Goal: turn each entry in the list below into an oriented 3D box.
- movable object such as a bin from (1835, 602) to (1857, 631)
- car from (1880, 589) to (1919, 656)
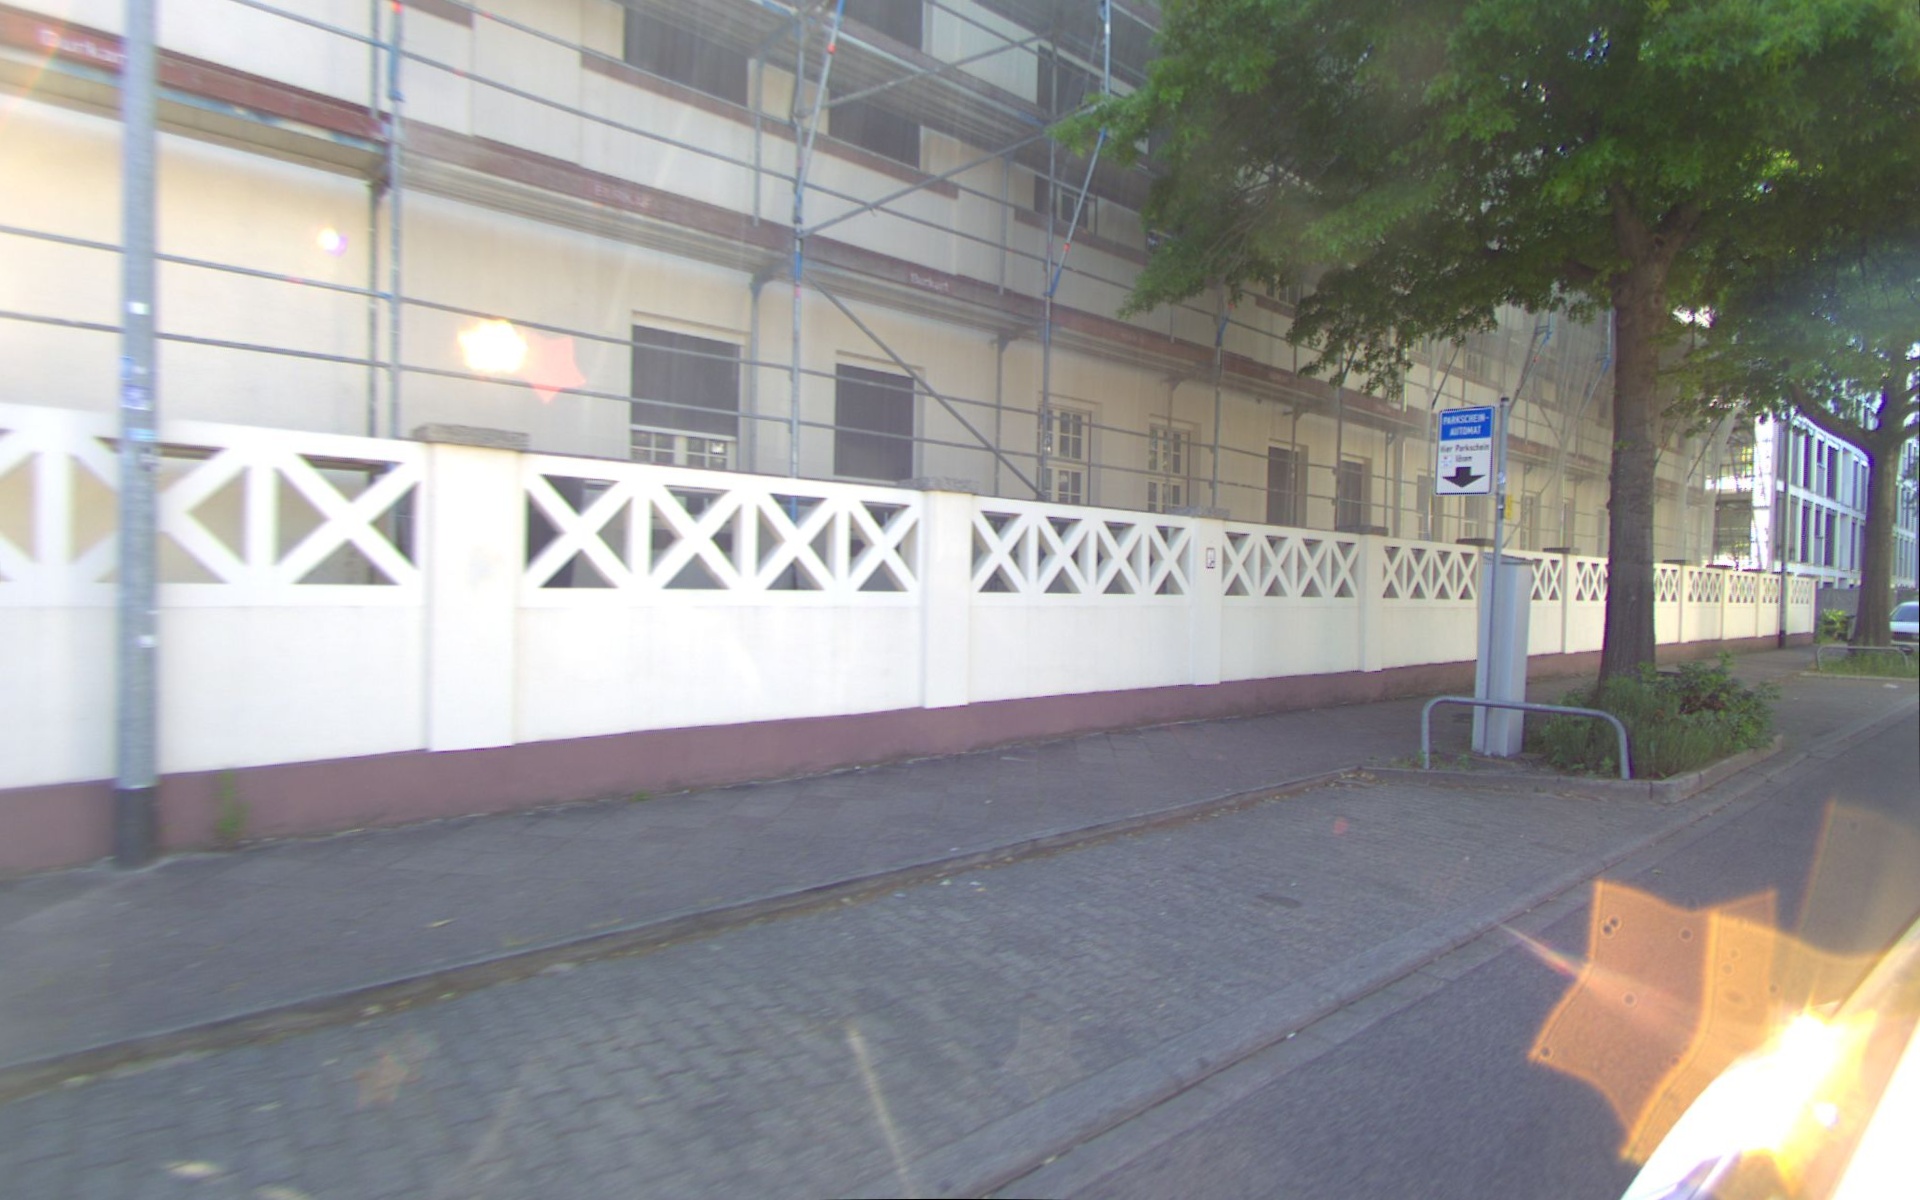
[{"bbox_3d":[30.132,0.571,34.417,0.502,0.976,0.435,0,-1,-36],"label":"movable object such as a bin"},{"bbox_3d":[23.882,0.546,24.462,3.918,1.529,1.729,0,2,-38],"label":"car"}]
